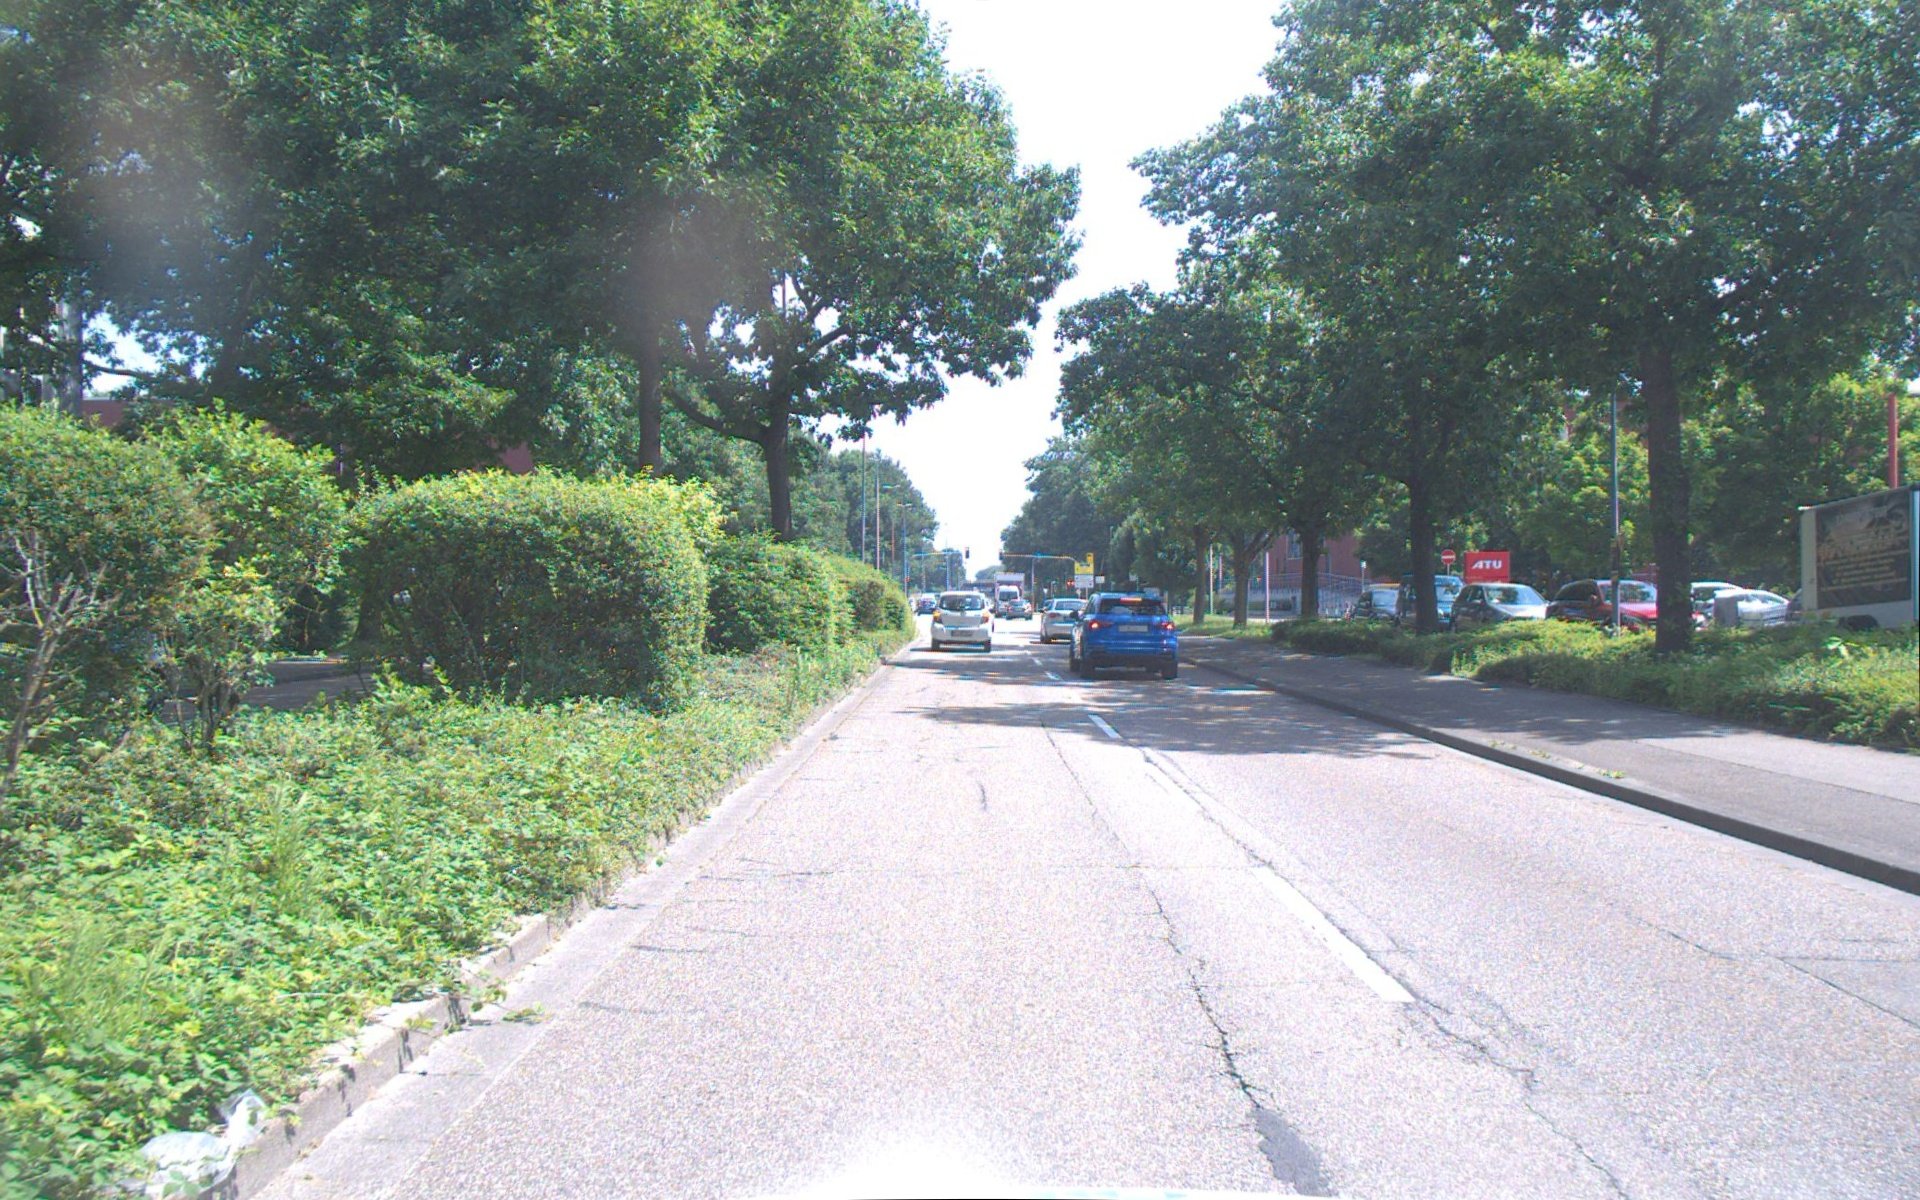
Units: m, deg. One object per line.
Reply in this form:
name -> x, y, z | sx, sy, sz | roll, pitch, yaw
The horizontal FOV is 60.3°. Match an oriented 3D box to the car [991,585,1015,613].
car -> 3.600, -0.105, 138.796 | 1.952, 2.295, 4.000 | -1, 0, 0

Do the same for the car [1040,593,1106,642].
car -> 3.601, 0.554, 53.260 | 1.827, 1.499, 3.999 | 0, -1, 0

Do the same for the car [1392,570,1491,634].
car -> 13.080, 0.079, 45.100 | 1.665, 1.666, 3.906 | 0, -1, 2

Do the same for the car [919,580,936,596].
car -> -4.123, -1.484, 208.417 | 1.954, 2.049, 3.998 | -1, 0, -3

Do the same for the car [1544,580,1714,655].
car -> 13.392, 0.318, 33.365 | 1.666, 1.404, 4.323 | 0, 0, 0

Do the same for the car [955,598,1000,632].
car -> 0.727, 0.636, 70.252 | 1.846, 1.378, 4.000 | 0, -1, 0

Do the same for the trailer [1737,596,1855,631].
trailer -> 23.721, 0.369, 46.998 | 2.657, 0.927, 1.381 | 1, 0, 0

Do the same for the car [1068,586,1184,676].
car -> 3.168, 0.588, 32.255 | 1.772, 1.621, 4.348 | 0, -1, -1

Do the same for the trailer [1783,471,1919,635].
trailer -> 13.073, -0.603, 22.061 | 1.665, 2.091, 5.485 | 0, 0, 3

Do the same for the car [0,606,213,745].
car -> -11.522, 0.869, 20.530 | 2.083, 1.476, 5.240 | -2, 0, 0

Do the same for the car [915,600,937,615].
car -> -3.161, 0.711, 153.984 | 1.952, 1.310, 4.000 | -1, 0, 0

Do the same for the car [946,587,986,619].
car -> 0.299, 0.174, 84.124 | 1.759, 1.550, 3.997 | 1, -1, -4

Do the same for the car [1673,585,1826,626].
car -> 24.718, 0.179, 51.846 | 3.905, 1.242, 1.909 | 0, -1, 0

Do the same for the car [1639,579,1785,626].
car -> 24.640, 0.077, 54.266 | 3.906, 1.467, 1.942 | -1, 0, -1

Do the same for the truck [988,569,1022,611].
truck -> 4.010, -0.885, 149.256 | 2.872, 3.564, 9.158 | -1, 0, 0

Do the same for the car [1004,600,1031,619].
car -> 4.265, 0.712, 123.088 | 1.827, 1.333, 4.000 | -1, 0, 0

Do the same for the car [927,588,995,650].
car -> -0.005, 0.501, 43.938 | 1.606, 1.579, 3.322 | 0, -1, -4

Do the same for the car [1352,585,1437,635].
car -> 13.259, 0.311, 50.690 | 1.665, 1.449, 4.655 | 0, -1, 4

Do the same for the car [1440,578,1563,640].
car -> 12.965, 0.197, 39.809 | 1.666, 1.404, 3.905 | 0, 0, 0
